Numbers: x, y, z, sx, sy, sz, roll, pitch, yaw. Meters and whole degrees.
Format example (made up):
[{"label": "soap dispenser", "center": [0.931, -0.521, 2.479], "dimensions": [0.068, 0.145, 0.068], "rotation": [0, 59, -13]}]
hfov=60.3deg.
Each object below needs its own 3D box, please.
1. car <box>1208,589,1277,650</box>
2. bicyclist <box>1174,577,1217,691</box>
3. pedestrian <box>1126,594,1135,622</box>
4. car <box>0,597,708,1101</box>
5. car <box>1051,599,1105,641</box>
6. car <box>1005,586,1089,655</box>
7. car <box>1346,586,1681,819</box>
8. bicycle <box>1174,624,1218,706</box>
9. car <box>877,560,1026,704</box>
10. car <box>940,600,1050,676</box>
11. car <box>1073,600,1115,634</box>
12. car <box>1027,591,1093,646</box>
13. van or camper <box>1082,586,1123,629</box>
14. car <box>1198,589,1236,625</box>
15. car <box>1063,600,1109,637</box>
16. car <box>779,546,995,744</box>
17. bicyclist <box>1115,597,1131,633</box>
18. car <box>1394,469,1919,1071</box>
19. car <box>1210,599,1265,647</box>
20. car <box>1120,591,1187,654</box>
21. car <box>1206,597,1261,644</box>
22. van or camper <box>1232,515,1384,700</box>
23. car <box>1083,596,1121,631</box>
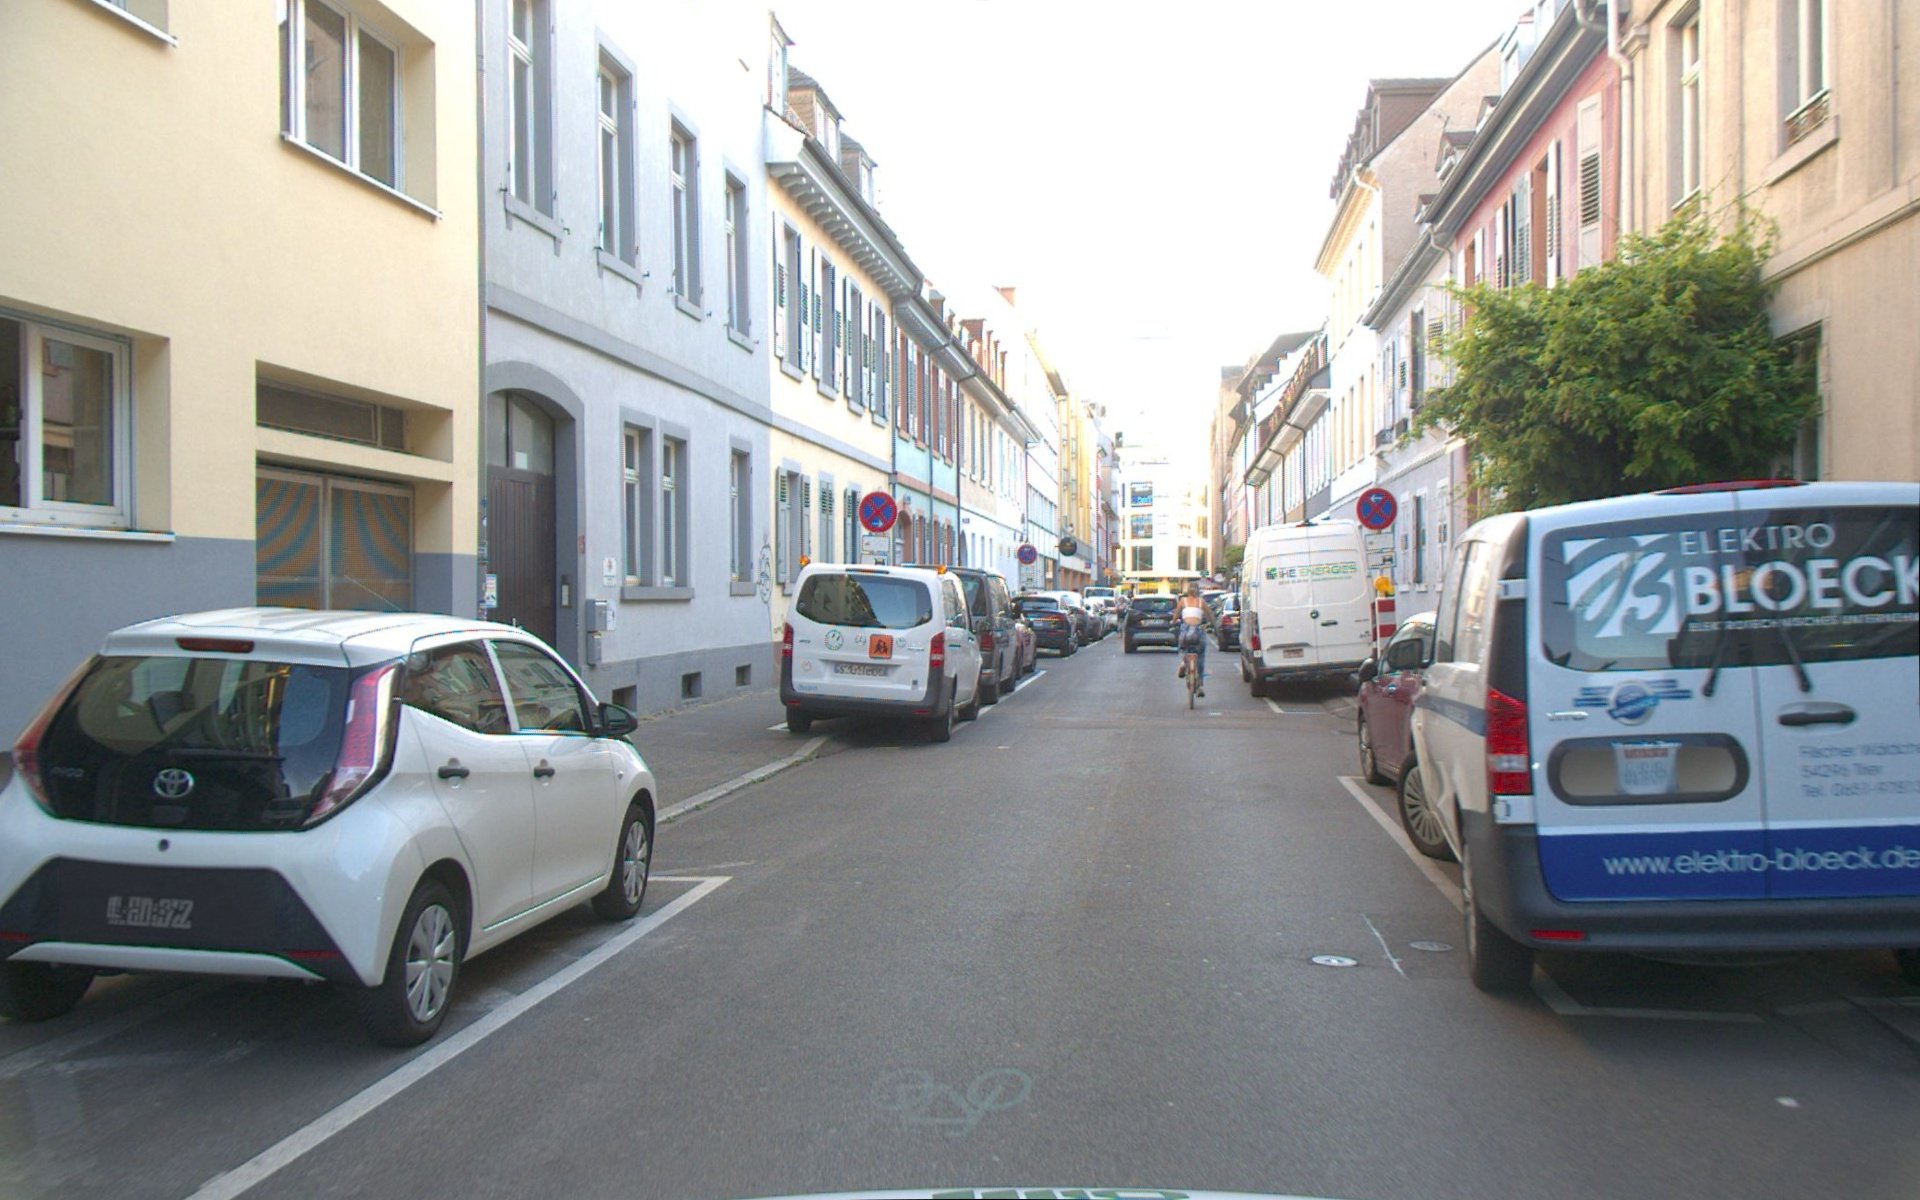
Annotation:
[{"label": "car", "center": [8.134, 0.547, 47.964], "dimensions": [1.781, 1.556, 5.075], "rotation": [-4, -1, 9]}, {"label": "bicyclist", "center": [3.379, 0.480, 23.711], "dimensions": [0.607, 1.602, 0.684], "rotation": [0, 0, 8]}, {"label": "pedestrian", "center": [10.702, 0.497, 103.835], "dimensions": [0.542, 1.783, 0.568], "rotation": [0, 0, 5]}, {"label": "car", "center": [-2.363, 0.770, 6.947], "dimensions": [1.627, 1.474, 3.523], "rotation": [3, 0, 7]}, {"label": "car", "center": [4.391, 0.724, 61.053], "dimensions": [1.877, 1.459, 4.296], "rotation": [1, 0, 6]}, {"label": "car", "center": [2.355, 0.519, 43.603], "dimensions": [1.764, 1.706, 4.493], "rotation": [-1, 0, 9]}, {"label": "car", "center": [4.093, 0.676, 12.825], "dimensions": [1.620, 1.531, 3.756], "rotation": [-1, 0, 5]}, {"label": "bicycle", "center": [3.381, 0.911, 23.674], "dimensions": [0.600, 1.101, 1.811], "rotation": [0, 0, 8]}, {"label": "car", "center": [-0.025, 0.453, 26.205], "dimensions": [1.823, 2.049, 4.817], "rotation": [-1, 0, 6]}, {"label": "car", "center": [0.769, 0.709, 33.193], "dimensions": [1.727, 1.426, 4.266], "rotation": [0, 0, 8]}, {"label": "car", "center": [5.911, 0.720, 72.663], "dimensions": [1.618, 1.435, 3.608], "rotation": [1, 0, 7]}, {"label": "car", "center": [3.359, 0.582, 54.983], "dimensions": [1.955, 1.737, 4.539], "rotation": [1, 0, 6]}, {"label": "van or camper", "center": [7.204, 0.370, 83.453], "dimensions": [1.805, 2.048, 4.682], "rotation": [1, 0, 7]}, {"label": "car", "center": [11.985, 0.323, 77.271], "dimensions": [1.618, 1.588, 3.608], "rotation": [1, 0, 7]}, {"label": "car", "center": [5.179, 0.720, 67.651], "dimensions": [1.618, 1.435, 3.905], "rotation": [1, 0, 7]}, {"label": "car", "center": [-0.719, 0.467, 19.810], "dimensions": [1.823, 2.049, 5.109], "rotation": [-1, 0, 6]}, {"label": "bicyclist", "center": [6.452, 0.588, 65.471], "dimensions": [0.593, 1.393, 0.622], "rotation": [0, 0, 8]}, {"label": "car", "center": [3.205, 0.540, 7.978], "dimensions": [1.895, 1.931, 5.281], "rotation": [-1, 0, 12]}, {"label": "car", "center": [9.216, 0.737, 55.082], "dimensions": [1.640, 1.512, 4.003], "rotation": [1, 0, 7]}, {"label": "car", "center": [5.406, 0.601, 46.153], "dimensions": [1.781, 1.646, 4.003], "rotation": [1, 0, 7]}, {"label": "car", "center": [10.742, 0.765, 65.172], "dimensions": [1.877, 1.768, 4.156], "rotation": [1, 0, 6]}, {"label": "van or camper", "center": [5.677, 0.102, 27.754], "dimensions": [2.006, 2.684, 7.068], "rotation": [-1, 0, 8]}, {"label": "car", "center": [6.687, 0.602, 77.618], "dimensions": [1.618, 1.588, 3.608], "rotation": [1, 0, 7]}]
